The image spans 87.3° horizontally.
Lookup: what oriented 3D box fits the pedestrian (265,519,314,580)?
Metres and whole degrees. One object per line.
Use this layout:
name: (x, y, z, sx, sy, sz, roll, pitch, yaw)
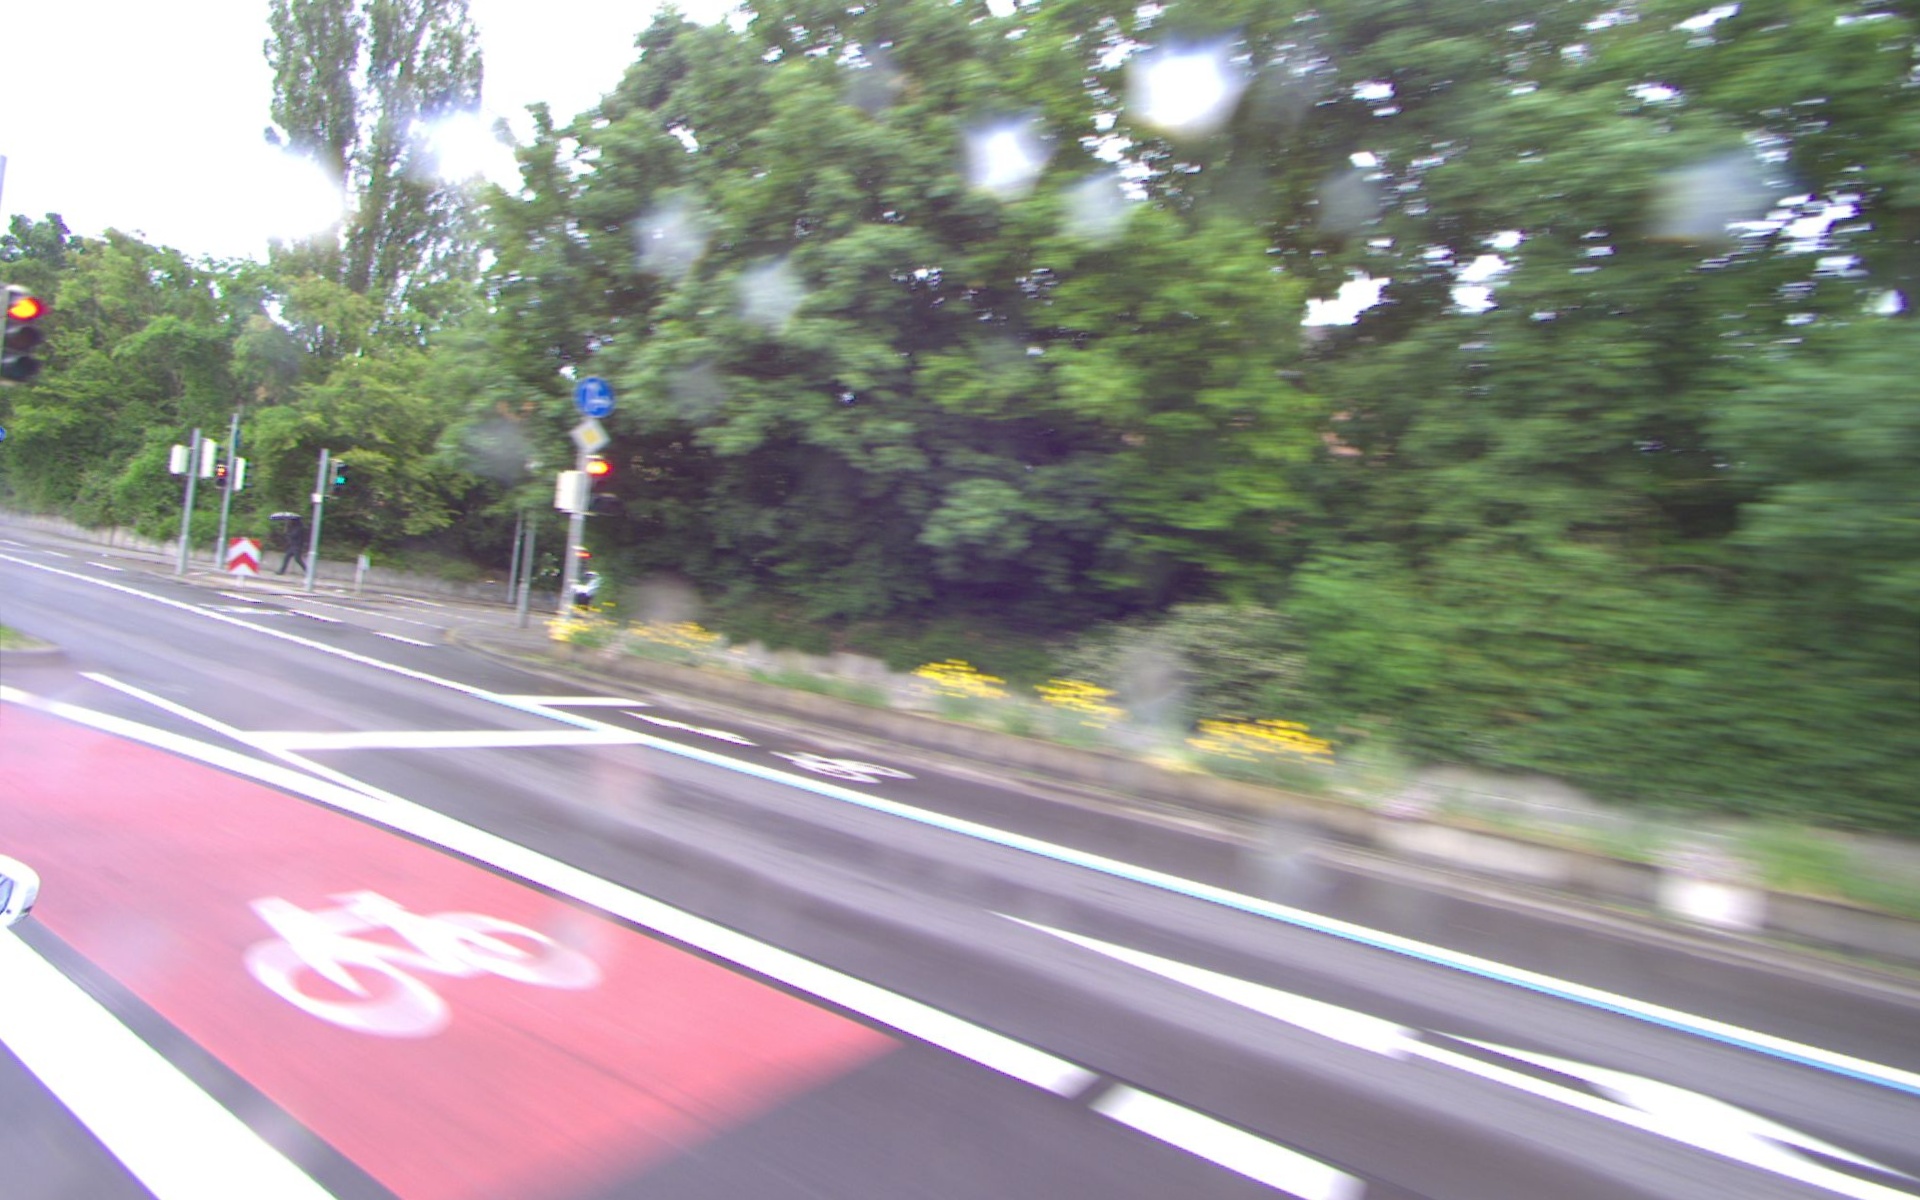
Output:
pedestrian: (-19.313, -1.455, 28.984, 0.672, 1.624, 0.809, 5, -3, 32)
